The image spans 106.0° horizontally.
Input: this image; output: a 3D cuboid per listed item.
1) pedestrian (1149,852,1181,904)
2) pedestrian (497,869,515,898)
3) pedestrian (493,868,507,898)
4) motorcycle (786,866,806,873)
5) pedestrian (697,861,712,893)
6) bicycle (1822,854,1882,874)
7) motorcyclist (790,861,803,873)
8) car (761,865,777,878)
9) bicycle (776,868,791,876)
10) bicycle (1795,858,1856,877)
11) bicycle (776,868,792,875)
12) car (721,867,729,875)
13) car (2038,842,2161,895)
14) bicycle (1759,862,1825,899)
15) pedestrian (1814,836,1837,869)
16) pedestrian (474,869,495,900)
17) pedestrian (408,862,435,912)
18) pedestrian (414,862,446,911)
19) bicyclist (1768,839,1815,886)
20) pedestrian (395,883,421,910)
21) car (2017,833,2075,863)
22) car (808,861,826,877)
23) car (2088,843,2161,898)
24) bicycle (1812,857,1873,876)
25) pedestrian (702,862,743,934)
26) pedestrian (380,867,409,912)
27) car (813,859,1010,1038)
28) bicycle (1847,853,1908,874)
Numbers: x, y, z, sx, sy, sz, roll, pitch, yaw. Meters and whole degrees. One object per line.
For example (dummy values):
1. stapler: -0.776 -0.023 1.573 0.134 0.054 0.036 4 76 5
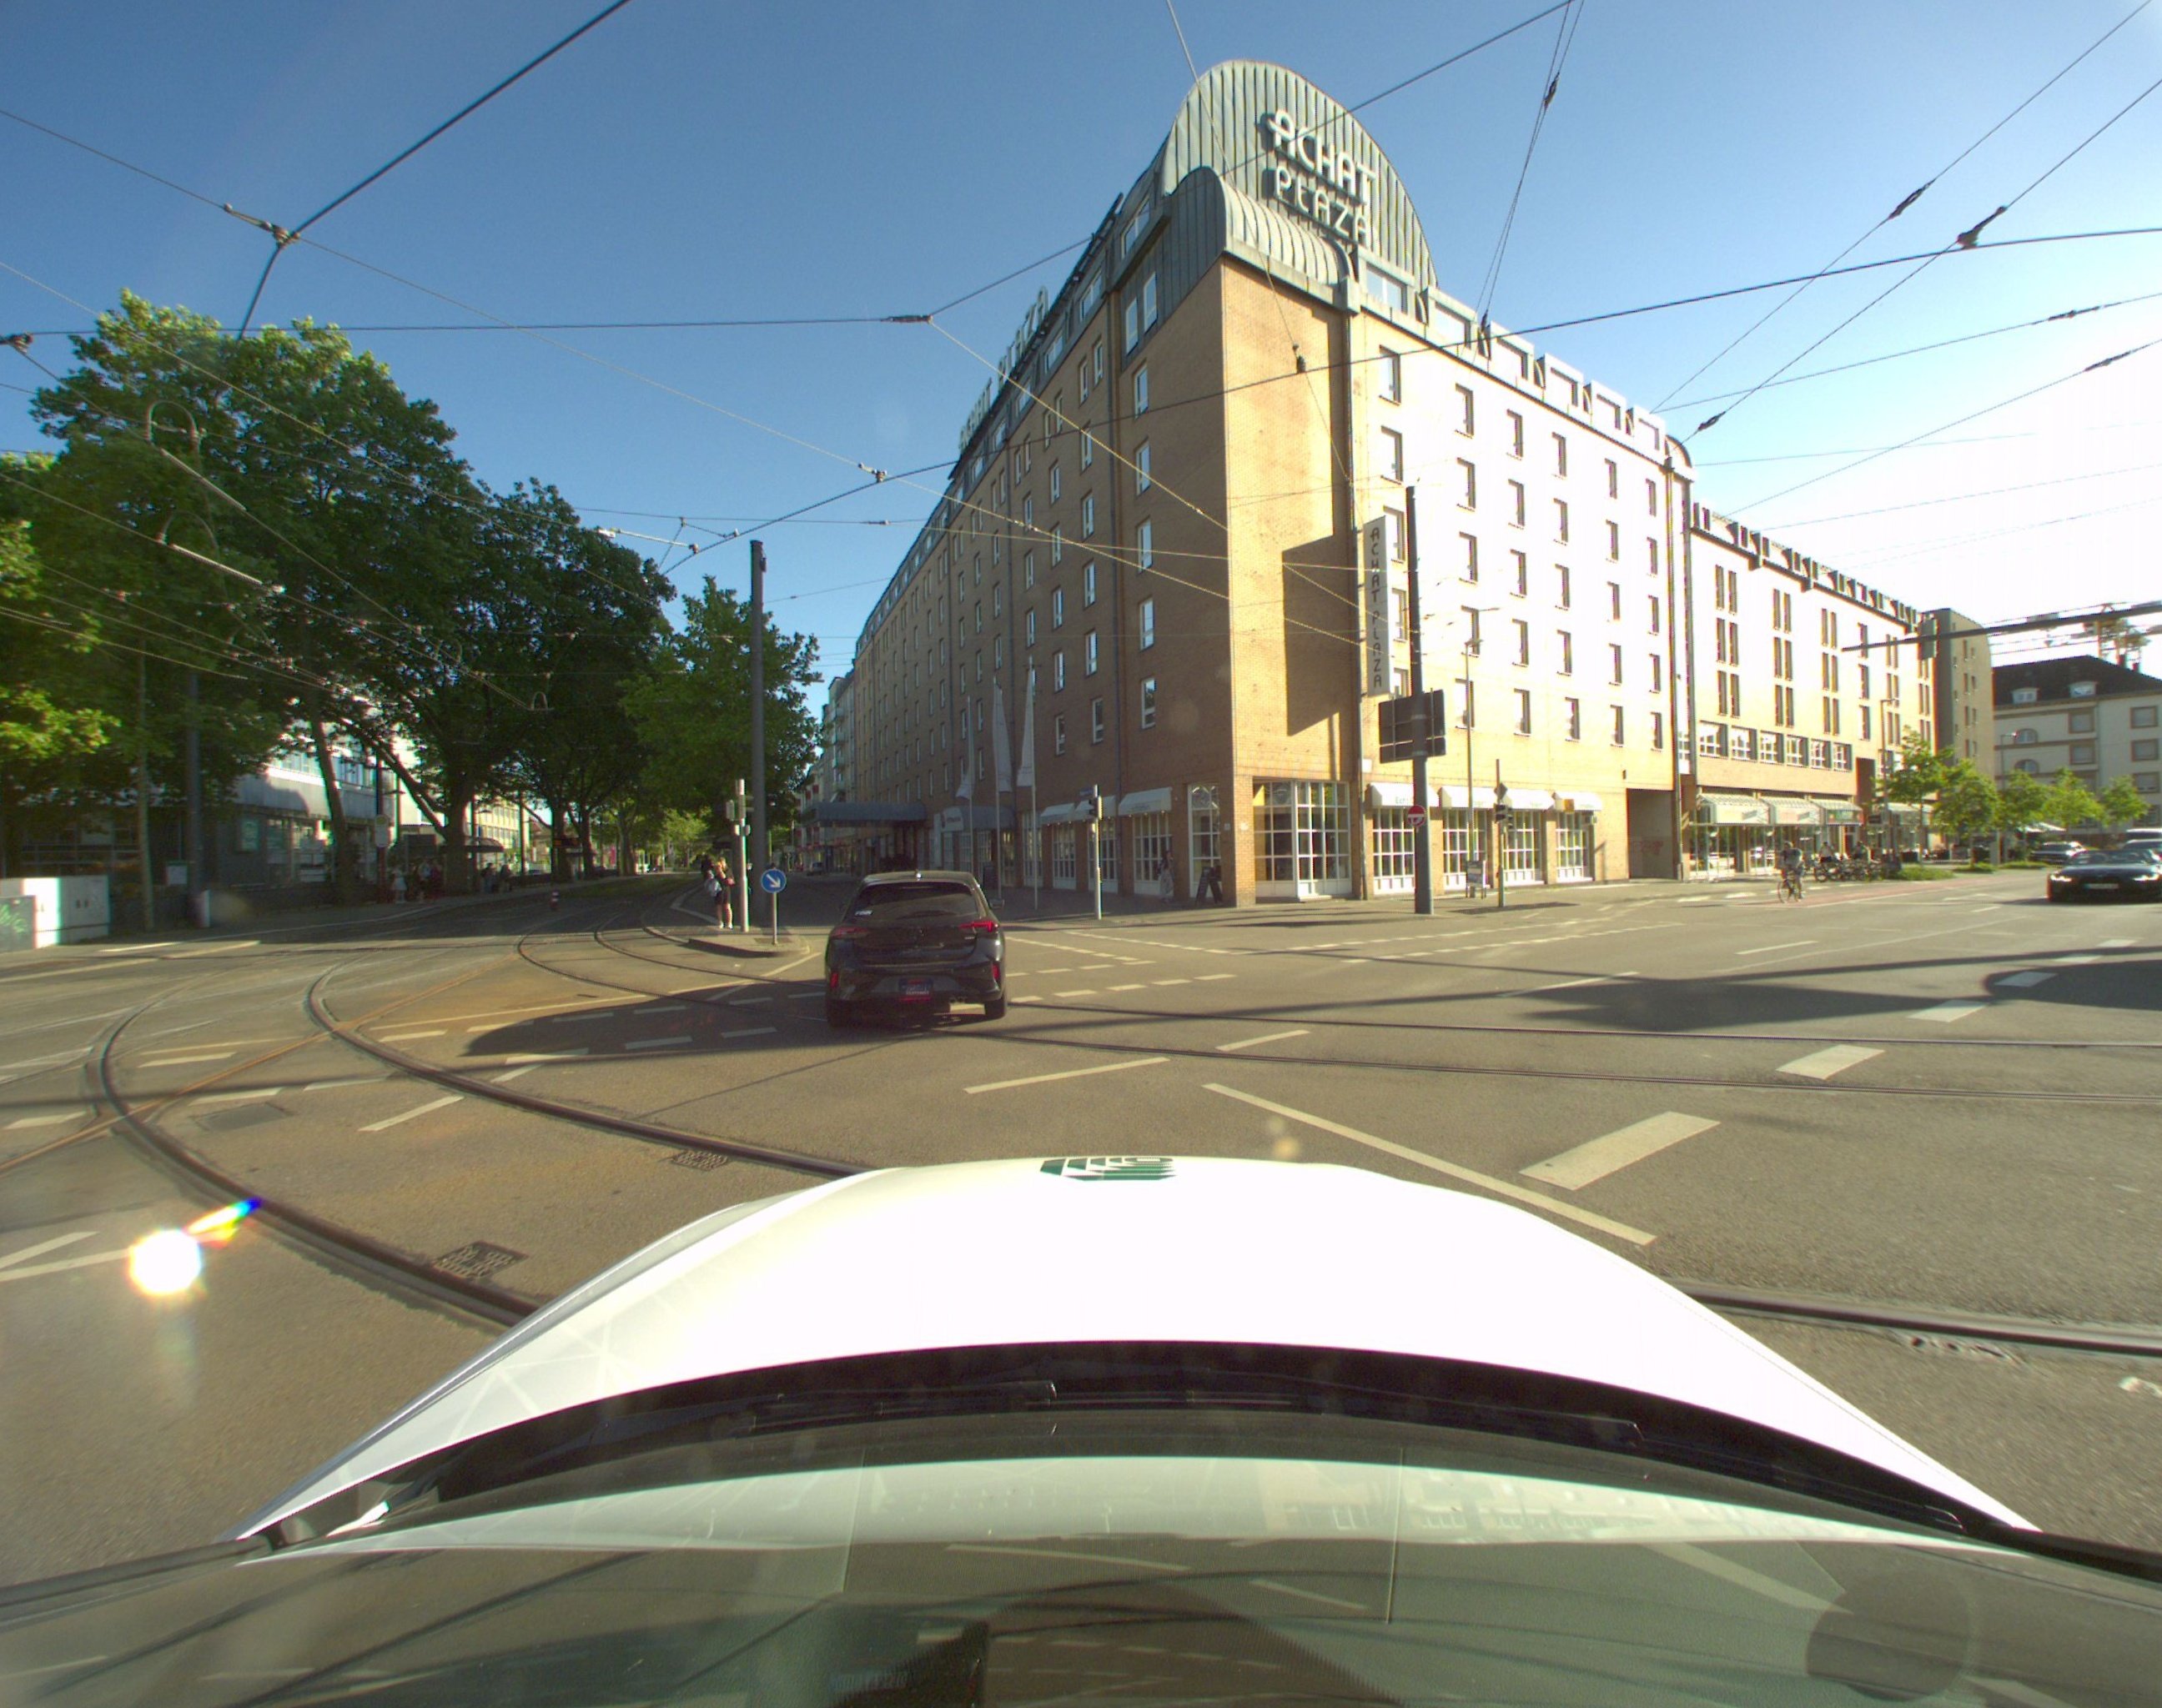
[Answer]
1. pedestrian: 2.710 0.769 26.431 0.741 1.666 0.748 -2 0 -20
2. pedestrian: -31.757 1.609 44.964 0.564 1.573 0.637 -1 1 -11
3. pedestrian: -31.654 1.585 44.374 0.502 1.573 0.491 -1 1 -20
4. motorcycle: -43.106 2.297 123.090 3.057 1.058 1.317 -1 0 37
5. pedestrian: -20.028 1.217 43.346 0.607 1.680 0.482 -3 0 -24
6. bicycle: 36.279 0.491 38.374 0.483 0.921 2.026 -1 -1 -21
7. motorcyclist: -42.984 1.935 123.007 1.221 1.698 1.317 -1 0 37
8. car: -37.205 2.102 96.971 1.621 1.502 3.661 -1 0 -24
9. bicycle: -49.224 2.912 134.837 2.365 1.234 0.679 -1 0 -22
10. bicycle: 33.733 0.611 36.940 0.483 0.845 2.026 -1 -1 -21
11. bicycle: -48.555 2.859 133.108 2.365 1.234 0.679 -1 0 -22
12. car: -74.175 3.550 169.658 1.621 1.502 3.661 -1 0 -24
13. car: 27.038 0.359 21.446 4.246 1.268 1.825 -1 -2 -34
14. bicycle: 21.212 0.766 24.290 2.518 0.991 0.804 -1 -1 -33
15. pedestrian: 40.926 -0.084 44.758 0.567 1.764 0.712 -1 -2 -29
16. pedestrian: -30.907 1.569 42.185 0.480 1.573 0.675 0 1 20
17. pedestrian: -24.787 1.229 30.609 0.638 1.829 0.738 -1 -1 -28
18. pedestrian: -25.084 1.243 31.384 0.587 1.829 0.746 -1 0 8
19. bicyclist: 21.189 0.250 24.296 0.929 1.377 0.804 -1 -1 -33
20. pedestrian: -29.730 1.873 35.980 0.590 1.164 0.743 -1 0 -8
21. car: 63.189 -0.424 53.296 4.122 1.836 1.826 -1 -2 -32
22. car: -29.889 1.675 92.096 1.679 1.652 3.663 -1 0 -22
23. car: 33.253 0.490 25.431 4.246 1.612 1.825 -1 -2 -34
24. bicycle: 35.126 0.567 37.589 0.483 0.845 2.026 -1 -1 -21
25. pedestrian: -8.668 1.048 19.729 0.715 1.680 0.827 -3 0 -15
26. pedestrian: -27.797 1.419 32.989 0.590 1.800 0.743 -1 0 -8
27. car: -1.702 0.837 9.017 1.670 1.502 3.681 -2 0 -7
28. bicycle: 37.605 0.458 38.503 0.483 0.921 2.026 -1 -1 -21
